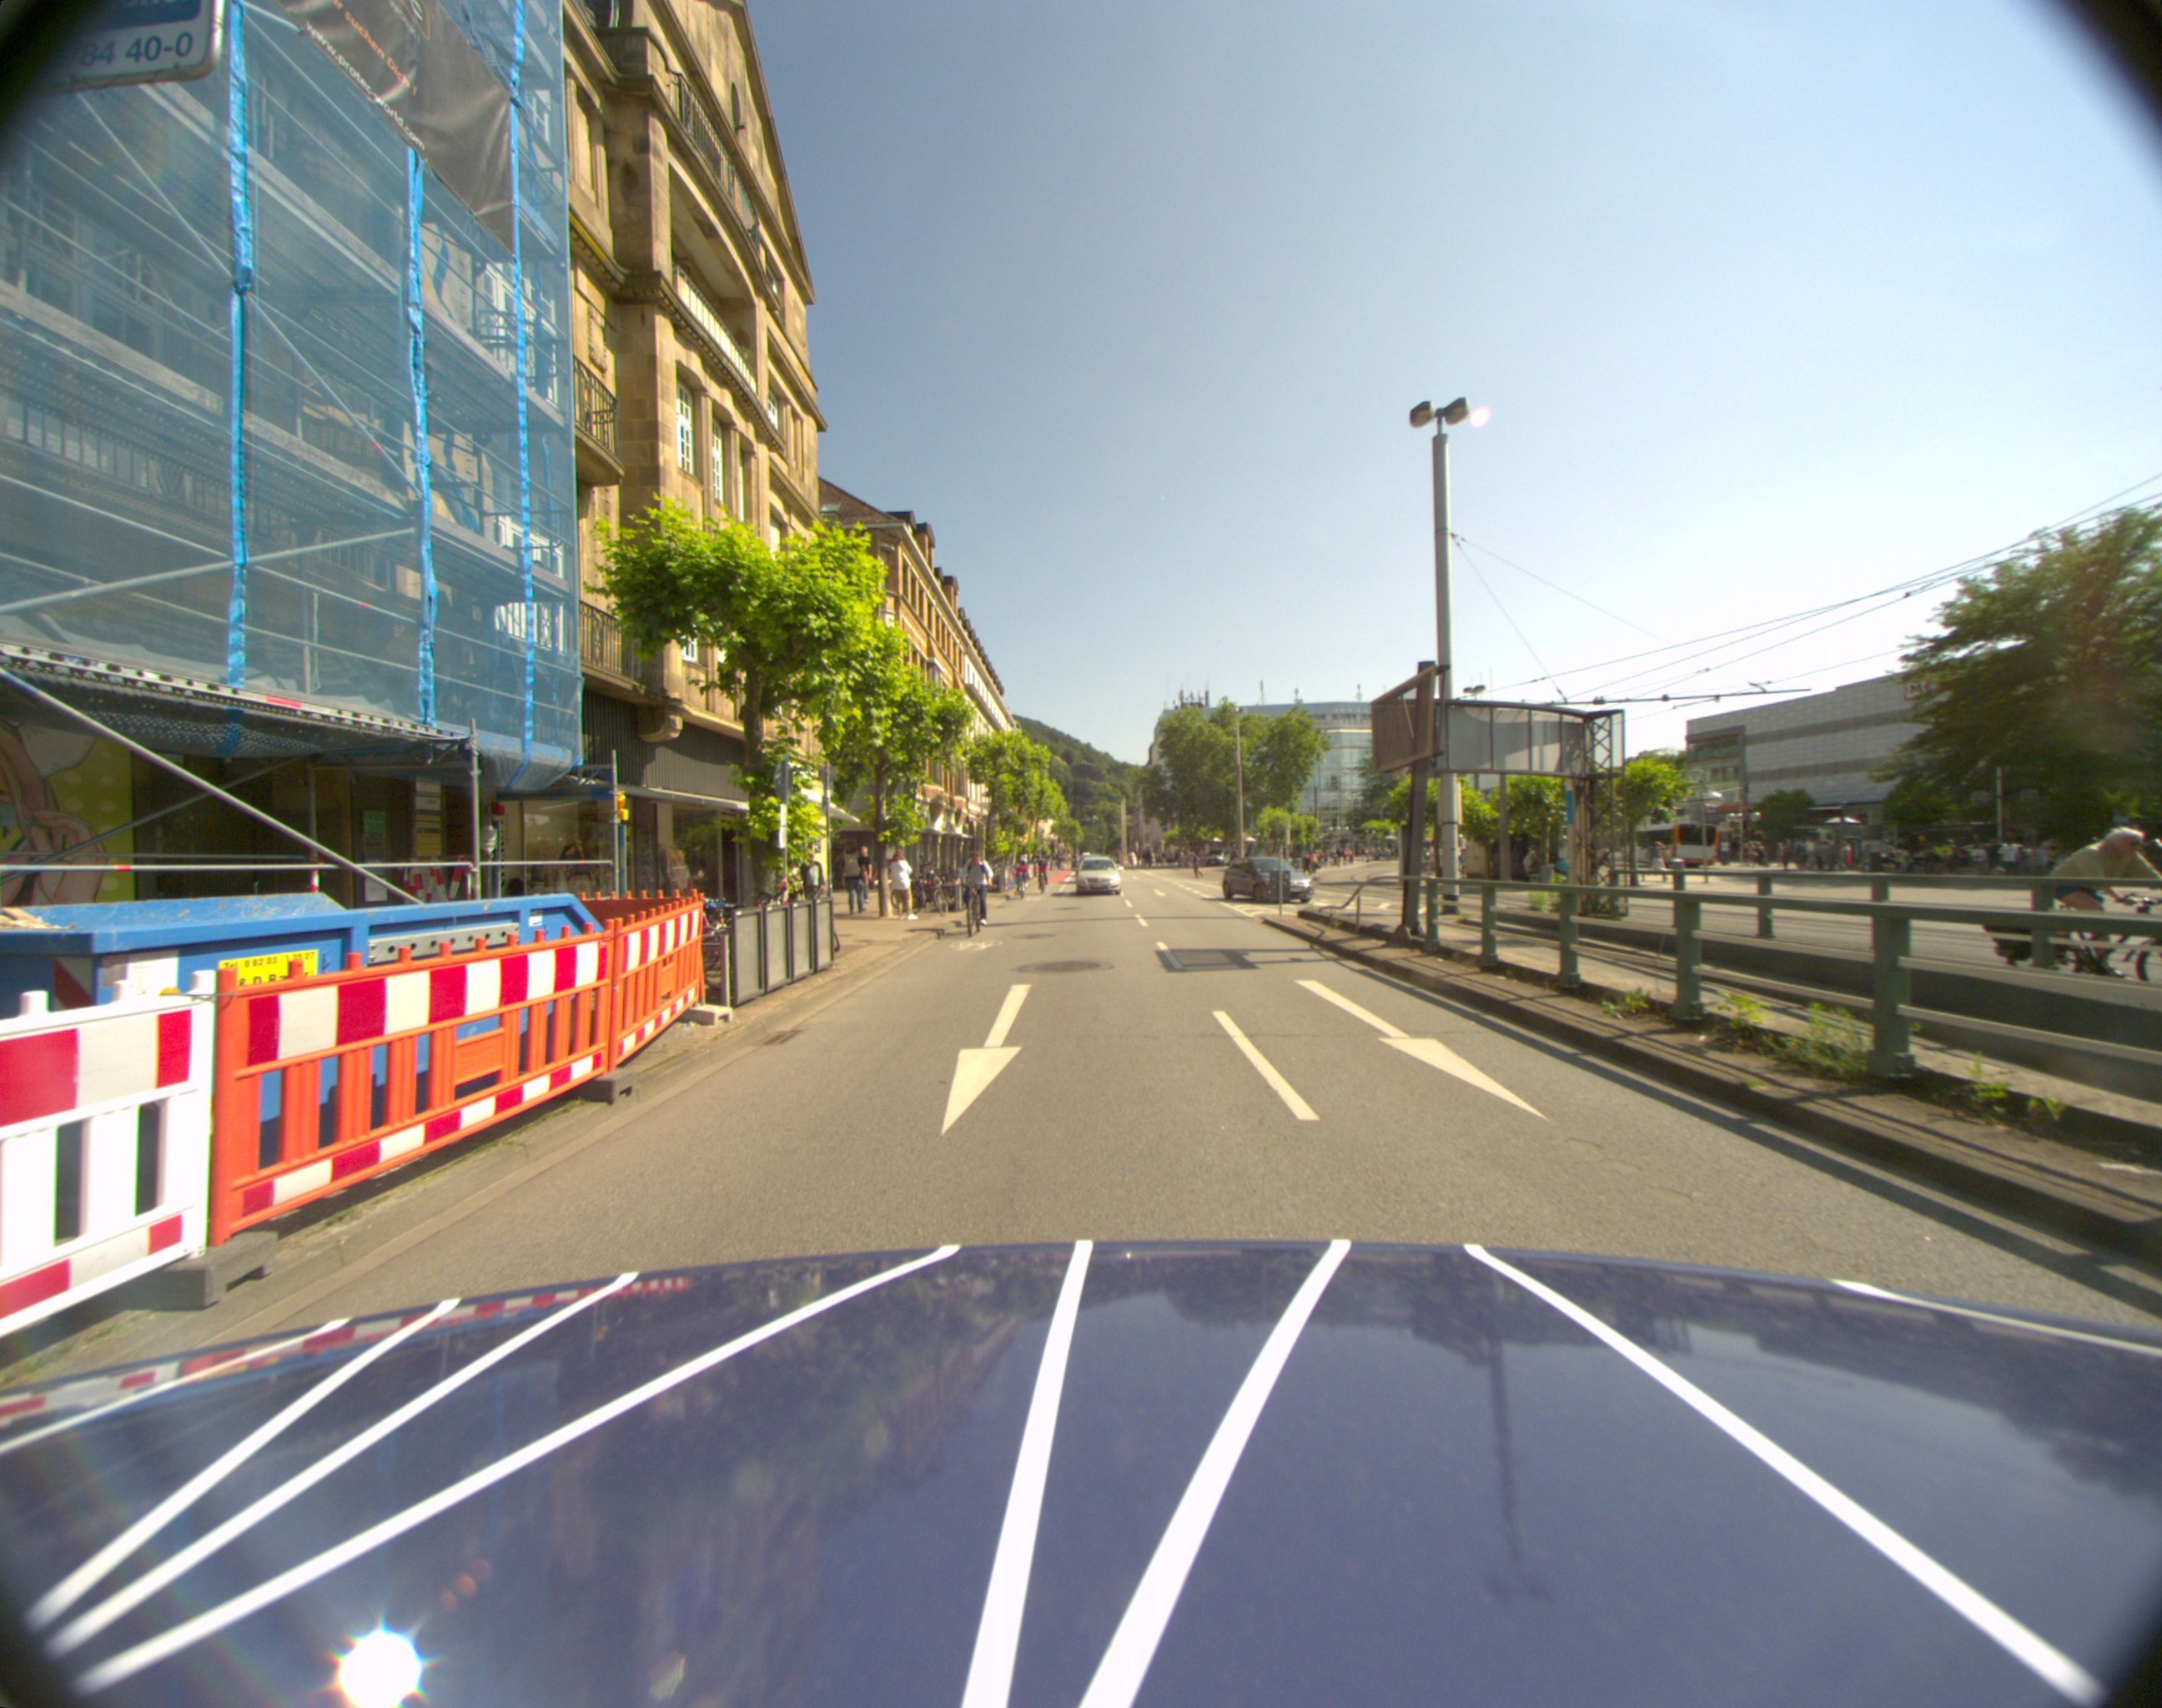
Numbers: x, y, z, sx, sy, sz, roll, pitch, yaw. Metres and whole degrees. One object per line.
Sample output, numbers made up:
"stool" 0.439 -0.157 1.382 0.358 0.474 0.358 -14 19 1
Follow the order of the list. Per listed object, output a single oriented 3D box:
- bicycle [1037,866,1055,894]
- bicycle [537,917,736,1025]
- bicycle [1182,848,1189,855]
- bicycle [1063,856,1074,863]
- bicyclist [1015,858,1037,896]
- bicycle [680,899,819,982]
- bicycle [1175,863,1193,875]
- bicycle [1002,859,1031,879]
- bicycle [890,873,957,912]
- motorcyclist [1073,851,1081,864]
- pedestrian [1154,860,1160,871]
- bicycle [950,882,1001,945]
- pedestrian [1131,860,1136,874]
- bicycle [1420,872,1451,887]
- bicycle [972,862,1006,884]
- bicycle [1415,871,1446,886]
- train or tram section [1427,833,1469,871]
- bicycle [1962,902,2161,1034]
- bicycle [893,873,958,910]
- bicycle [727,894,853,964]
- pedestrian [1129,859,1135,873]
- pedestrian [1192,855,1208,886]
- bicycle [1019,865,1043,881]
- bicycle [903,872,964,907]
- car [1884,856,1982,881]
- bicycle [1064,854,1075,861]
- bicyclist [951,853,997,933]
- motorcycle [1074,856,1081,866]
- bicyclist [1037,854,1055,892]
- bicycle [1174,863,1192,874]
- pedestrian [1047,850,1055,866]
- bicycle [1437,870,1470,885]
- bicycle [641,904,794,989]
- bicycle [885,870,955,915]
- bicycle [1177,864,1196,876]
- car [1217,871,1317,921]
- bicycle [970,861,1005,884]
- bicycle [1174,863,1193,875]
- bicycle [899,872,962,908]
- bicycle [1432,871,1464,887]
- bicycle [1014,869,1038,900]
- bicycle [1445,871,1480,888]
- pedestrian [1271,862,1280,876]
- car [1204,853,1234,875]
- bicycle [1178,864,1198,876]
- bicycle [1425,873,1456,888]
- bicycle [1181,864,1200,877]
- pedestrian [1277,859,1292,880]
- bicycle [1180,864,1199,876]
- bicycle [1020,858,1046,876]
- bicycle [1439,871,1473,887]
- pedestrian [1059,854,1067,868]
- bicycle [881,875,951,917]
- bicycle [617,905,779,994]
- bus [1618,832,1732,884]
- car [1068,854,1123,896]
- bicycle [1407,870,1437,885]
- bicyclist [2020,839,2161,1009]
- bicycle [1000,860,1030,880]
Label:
"bicycle" -1.473 1.108 32.443 0.667 1.086 1.897 -3 0 -2
"bicycle" -4.634 1.212 7.974 1.757 1.012 0.483 -2 1 -1
"bicycle" 16.690 -0.412 121.245 0.592 1.140 1.757 -2 0 -7
"bicycle" -2.017 0.853 120.914 1.757 1.140 0.592 -2 1 -1
"bicyclist" -2.097 0.876 29.002 0.690 1.388 0.778 -3 1 -1
"bicycle" -4.795 1.219 11.048 1.761 1.012 0.481 -2 1 -32
"bicycle" 10.328 1.540 76.352 1.757 1.140 0.483 -2 1 -1
"bicycle" -3.993 0.922 47.044 1.757 1.140 0.499 -2 1 -1
"bicycle" -4.440 1.078 21.476 1.757 1.012 0.557 -2 1 -1
"motorcyclist" -0.437 0.349 85.415 0.736 1.446 0.707 -3 1 1
"pedestrian" 11.769 1.799 117.224 0.732 1.660 0.640 -3 1 14
"bicycle" -2.141 1.185 15.624 0.736 1.086 1.897 -3 0 -1
"pedestrian" 6.602 1.634 95.816 0.575 1.704 0.652 -3 1 -1
"bicycle" 23.244 1.640 49.840 1.871 0.851 0.546 -3 1 -12
"bicycle" -4.950 1.021 40.852 1.757 1.140 0.483 -2 1 -1
"bicycle" 23.327 1.627 50.777 1.871 0.867 0.583 -3 1 -12
"train or tram section" 40.305 -0.303 83.196 2.615 3.805 9.536 -3 1 34
"bicycle" 10.469 1.121 7.726 0.819 1.114 1.874 1 1 1
"bicycle" -4.506 1.087 22.109 1.757 1.012 0.587 -1 1 -1
"bicycle" -4.567 1.173 11.987 1.757 1.012 0.483 -2 1 -1
"pedestrian" 6.642 1.533 98.865 0.639 1.737 0.733 -3 1 -1
"pedestrian" 7.911 1.087 50.468 0.897 1.995 0.678 0 0 -43
"bicycle" -3.790 1.418 57.844 1.757 1.140 0.483 -2 1 -1
"bicycle" -4.525 1.094 23.377 1.757 1.012 0.483 -2 1 -1
"car" 55.842 0.901 49.930 1.760 1.499 3.998 -3 0 -5
"bicycle" -1.954 0.644 126.677 1.757 1.140 0.592 -2 1 -1
"bicyclist" -2.177 0.787 15.605 0.750 1.567 0.778 -3 1 0
"motorcycle" -0.414 0.750 85.409 0.736 1.086 1.898 -3 0 1
"bicyclist" -1.501 0.806 32.466 0.690 1.567 0.778 -3 1 -2
"bicycle" 10.511 1.505 78.231 1.757 1.140 0.483 -2 1 -1
"pedestrian" -3.286 0.423 83.664 0.579 1.675 0.620 -4 1 -44
"bicycle" 23.490 1.475 47.871 1.871 0.864 0.581 -3 1 -12
"bicycle" -4.797 1.212 10.079 1.757 1.012 0.483 -2 1 -1
"bicycle" -4.407 1.046 20.853 1.757 1.174 0.579 -2 1 -1
"bicycle" 10.466 1.560 75.599 1.757 1.140 0.483 -2 1 -1
"car" 5.990 1.298 24.905 1.701 1.396 3.996 0 0 -10
"bicycle" -4.925 0.970 40.196 1.757 1.140 0.483 -2 1 -1
"bicycle" 10.366 1.559 76.930 1.757 1.140 0.483 -2 1 -1
"bicycle" -4.501 1.071 22.774 1.757 1.012 0.483 -2 1 -1
"bicycle" 23.402 1.599 48.471 1.871 0.851 0.546 -3 1 -12
"bicycle" -2.083 1.146 28.948 0.736 1.086 1.819 -3 0 -1
"bicycle" 22.910 1.518 45.622 1.871 0.864 0.581 -3 1 -12
"pedestrian" 16.639 1.276 64.952 0.577 1.226 0.555 0 0 34
"car" 14.407 0.982 79.160 1.996 2.002 5.074 -3 0 22
"bicycle" 10.499 1.565 74.495 1.865 1.140 0.483 -2 1 -1
"bicycle" 23.318 1.719 49.275 1.871 0.851 0.546 -3 1 -12
"bicycle" 10.539 1.578 73.155 1.757 1.140 0.483 -2 1 -1
"pedestrian" 15.554 1.182 58.171 0.895 1.649 0.680 0 0 -8
"bicycle" 10.504 1.566 73.668 1.757 1.140 0.483 -2 1 -1
"bicycle" -3.313 0.897 52.488 1.757 1.140 0.483 -2 1 -1
"bicycle" 22.776 1.522 46.193 1.871 0.864 0.581 -3 1 -12
"pedestrian" -2.170 0.814 91.661 0.579 1.675 0.726 -3 1 -22
"bicycle" -4.320 1.085 19.851 1.754 1.012 0.659 -1 1 29
"bicycle" -4.787 1.184 9.553 1.757 1.012 0.483 -2 1 -1
"bus" 45.016 0.152 58.190 3.060 3.400 12.475 -3 0 20
"car" 0.571 0.767 29.480 1.918 1.401 4.000 -3 0 2
"bicycle" 23.109 1.590 51.461 1.871 0.851 0.546 -3 1 -12
"bicyclist" 10.496 0.681 7.685 0.819 1.612 0.902 2 0 1
"bicycle" -4.011 0.985 46.250 1.757 1.140 0.483 -2 1 -1
